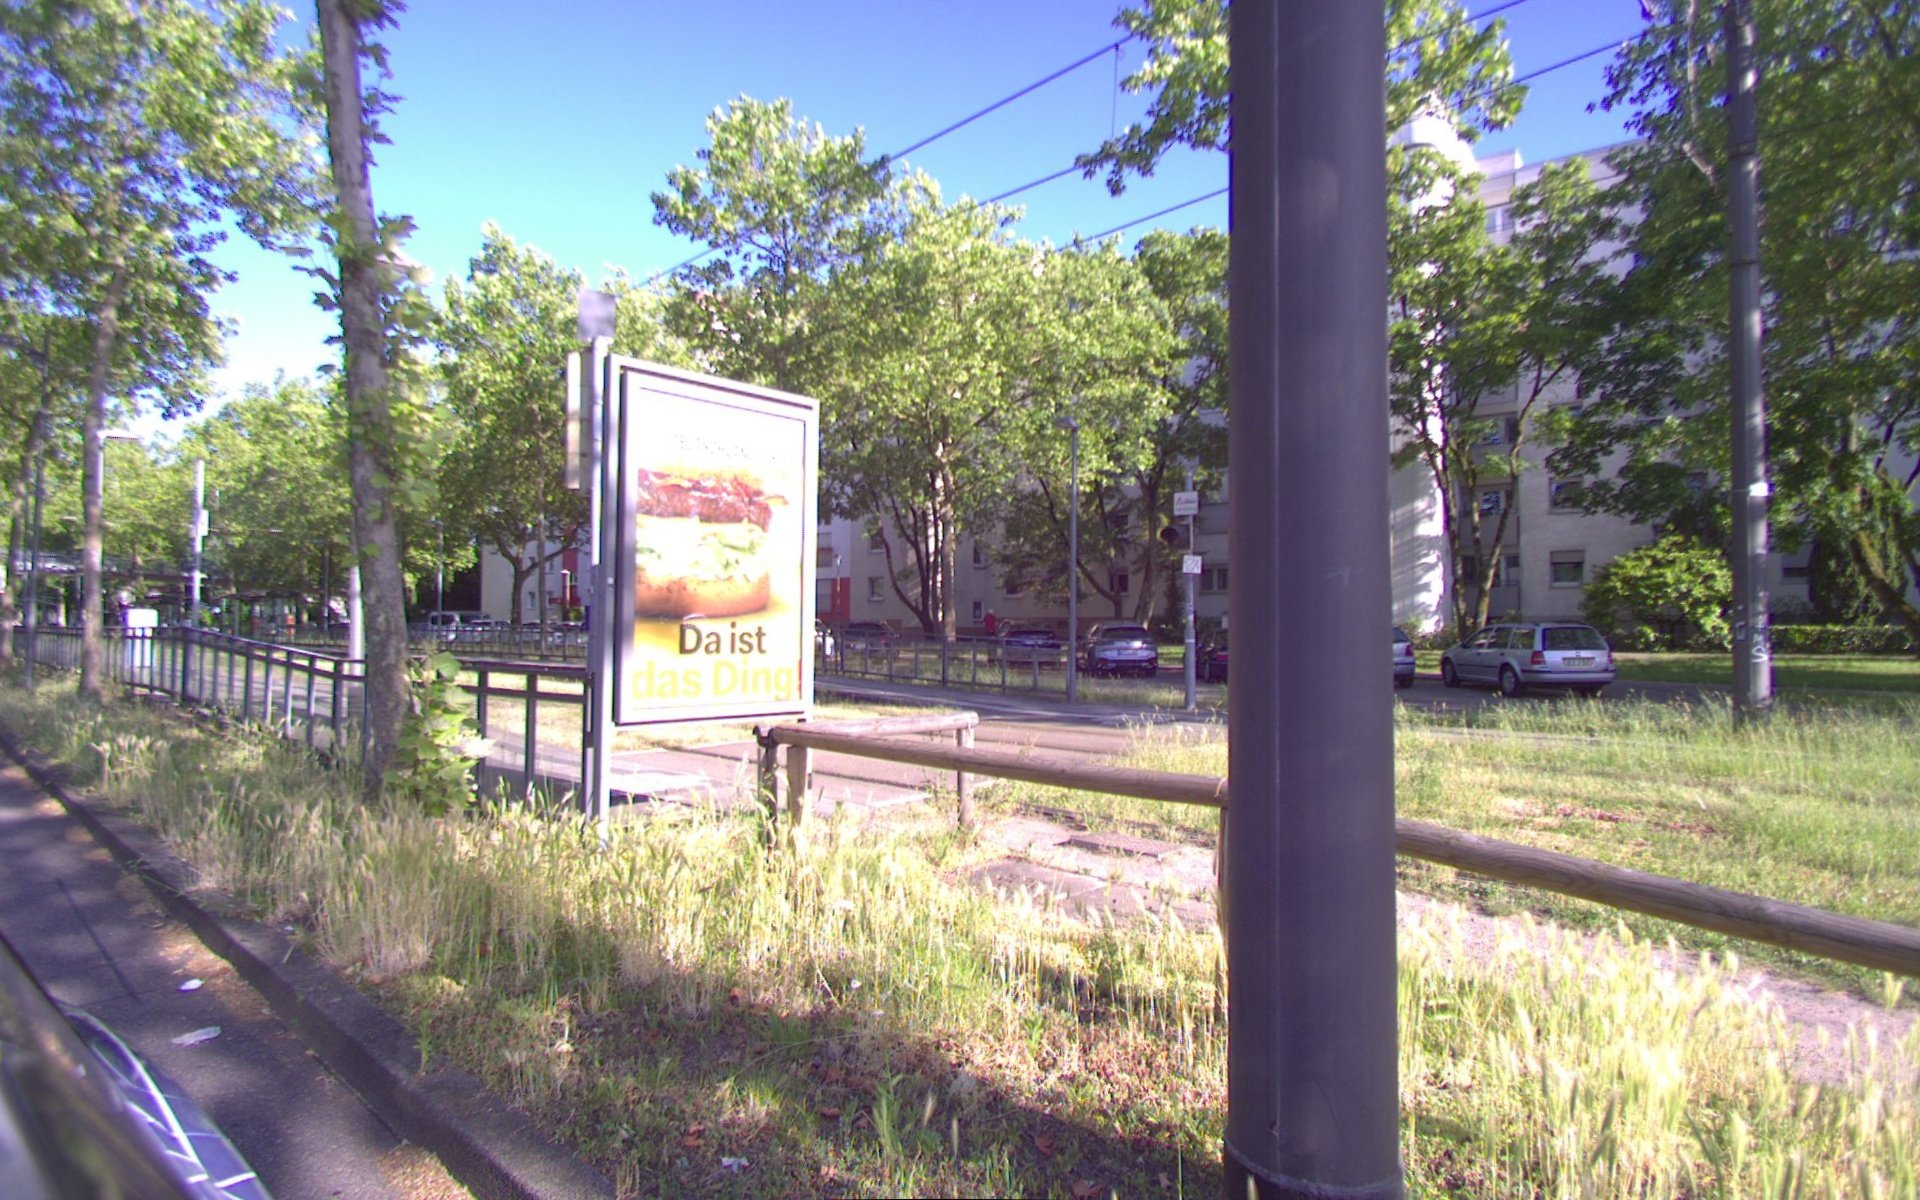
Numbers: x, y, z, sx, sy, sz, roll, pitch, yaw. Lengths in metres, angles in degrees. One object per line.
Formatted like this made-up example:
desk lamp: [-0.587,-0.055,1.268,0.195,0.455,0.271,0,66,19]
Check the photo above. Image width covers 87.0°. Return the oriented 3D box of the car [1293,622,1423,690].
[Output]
car: [9.158,1.240,23.589,1.559,1.413,3.638,-1,-1,0]

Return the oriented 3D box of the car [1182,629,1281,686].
car: [6.690,1.379,25.276,1.445,1.234,3.815,-1,-1,0]

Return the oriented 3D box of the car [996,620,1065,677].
car: [1.999,1.356,29.665,1.633,1.522,3.805,-1,-1,-2]

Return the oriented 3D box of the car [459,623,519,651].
car: [-25.855,2.001,55.659,1.633,1.452,3.805,-1,-1,-2]

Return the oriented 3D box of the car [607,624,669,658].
car: [-14.047,1.767,44.335,1.633,1.366,3.805,-1,-1,-2]

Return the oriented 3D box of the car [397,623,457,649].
car: [-31.316,2.085,59.598,1.633,1.452,3.805,-1,-1,-2]

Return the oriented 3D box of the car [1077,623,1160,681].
car: [4.233,1.366,27.518,1.633,1.413,3.803,-1,-1,0]

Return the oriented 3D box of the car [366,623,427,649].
car: [-33.678,2.116,60.601,1.633,1.452,3.805,-1,-1,-2]

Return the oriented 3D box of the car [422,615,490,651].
car: [-28.437,1.826,57.253,1.814,1.888,4.323,-1,-1,-2]

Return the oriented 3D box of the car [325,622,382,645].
car: [-40.822,2.229,68.191,1.633,1.452,3.805,-1,-1,-2]

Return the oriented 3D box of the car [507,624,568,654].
car: [-21.321,1.942,51.182,1.633,1.452,3.805,-1,-1,-2]

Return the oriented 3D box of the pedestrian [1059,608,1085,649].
pedestrian: [4.649,1.175,41.883,0.786,1.635,0.755,-1,0,39]

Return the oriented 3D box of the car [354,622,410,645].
car: [-37.869,2.175,66.377,1.633,1.452,3.805,-1,-1,-2]

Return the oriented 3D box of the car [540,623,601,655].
car: [-19.029,1.899,49.539,1.633,1.452,3.805,-1,-1,-2]

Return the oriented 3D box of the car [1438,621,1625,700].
car: [11.489,1.162,20.663,1.559,1.413,3.906,-1,-1,0]

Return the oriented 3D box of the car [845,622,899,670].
car: [-2.960,1.528,34.648,1.633,1.522,3.805,-1,-1,-2]

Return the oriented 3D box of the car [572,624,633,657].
car: [-16.611,1.857,47.158,1.633,1.452,3.805,-1,-1,-2]

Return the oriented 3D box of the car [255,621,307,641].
car: [-53.034,2.404,79.152,1.633,1.452,3.805,-1,-1,-2]

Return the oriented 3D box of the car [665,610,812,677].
car: [-6.679,1.252,30.196,4.901,1.835,1.807,-2,-1,42]

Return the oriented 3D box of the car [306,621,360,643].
car: [-44.963,2.290,72.680,1.633,1.452,3.805,-1,-1,-2]

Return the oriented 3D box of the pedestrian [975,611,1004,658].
pedestrian: [1.127,1.302,38.770,0.786,1.745,0.755,-1,0,39]
